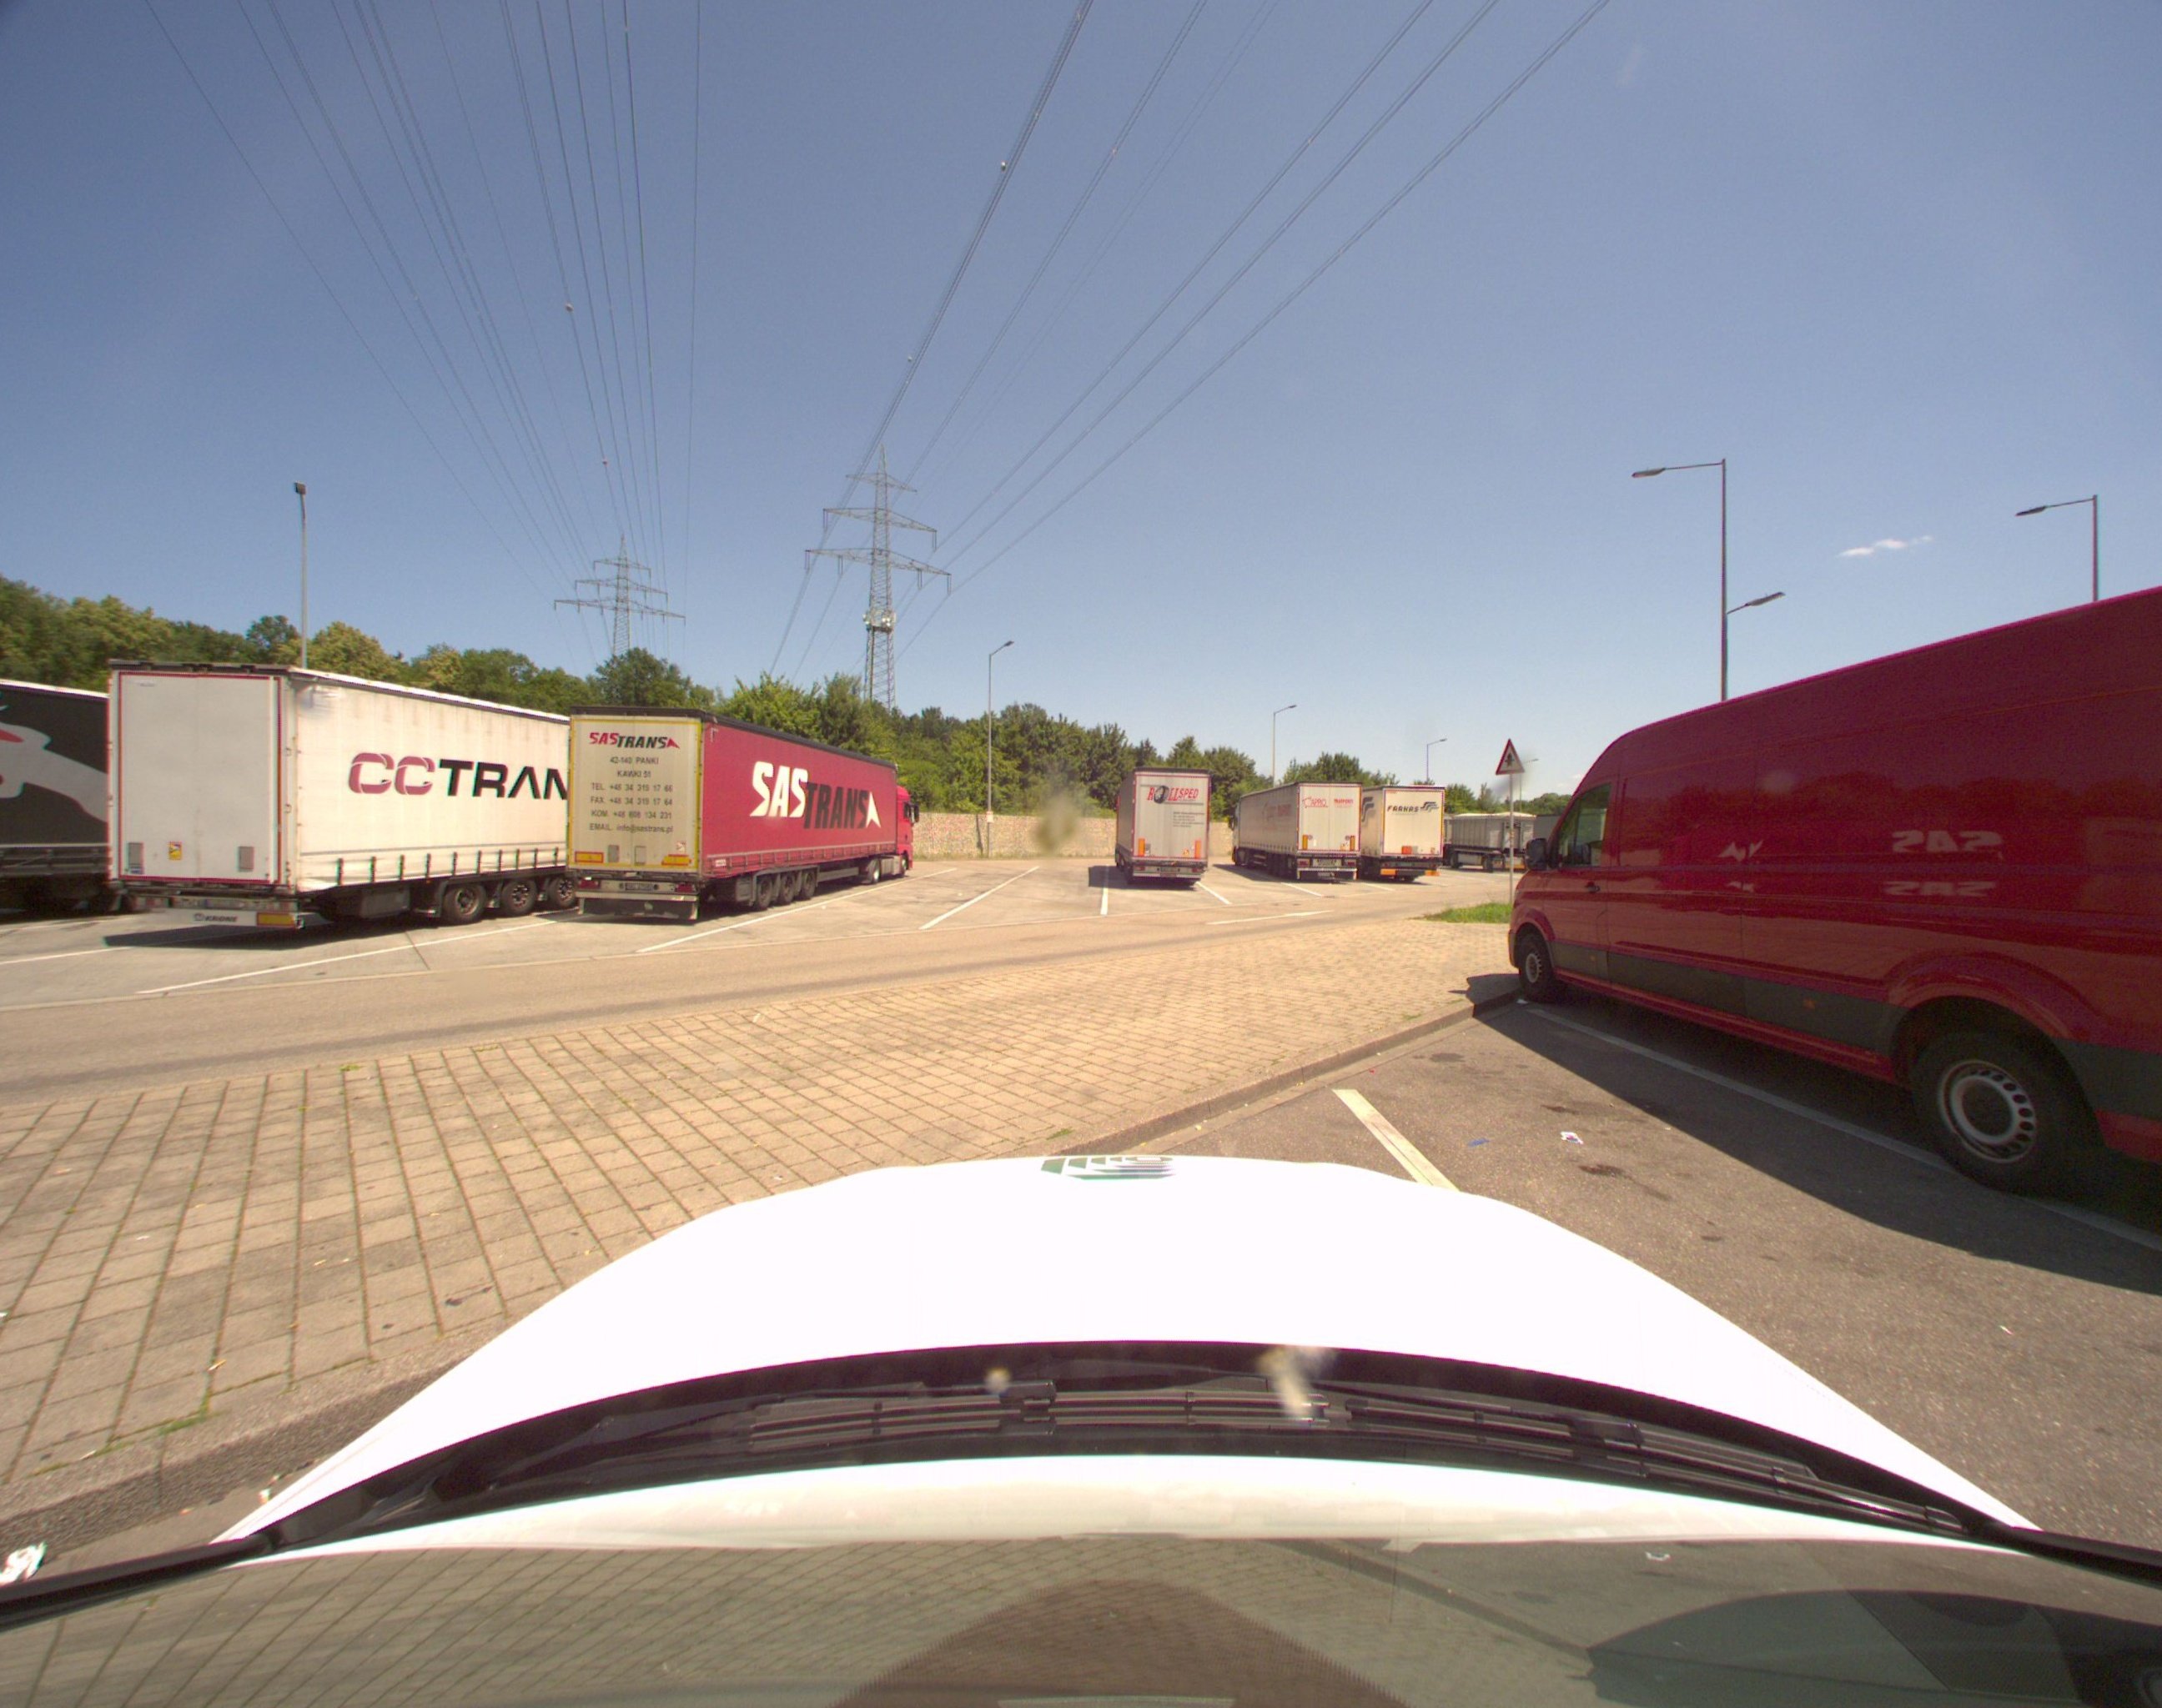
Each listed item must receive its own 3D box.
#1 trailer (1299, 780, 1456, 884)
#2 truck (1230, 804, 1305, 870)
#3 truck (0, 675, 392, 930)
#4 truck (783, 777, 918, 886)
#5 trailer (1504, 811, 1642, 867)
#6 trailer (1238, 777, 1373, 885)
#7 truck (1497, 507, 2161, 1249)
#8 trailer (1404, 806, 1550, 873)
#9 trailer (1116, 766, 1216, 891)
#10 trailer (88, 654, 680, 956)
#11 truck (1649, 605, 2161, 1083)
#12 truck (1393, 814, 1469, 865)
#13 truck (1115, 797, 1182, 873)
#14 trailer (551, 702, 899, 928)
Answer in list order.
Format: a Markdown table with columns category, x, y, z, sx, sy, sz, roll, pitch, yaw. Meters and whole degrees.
| category | x | y | z | sx | sy | sz | roll | pitch | yaw |
| --- | --- | --- | --- | --- | --- | --- | --- | --- | --- |
| trailer | 13.605 | -1.093 | 39.225 | 2.847 | 4.109 | 13.770 | 1 | 2 | 2 |
| truck | 10.175 | -0.975 | 45.064 | 2.855 | 3.362 | 5.977 | 1 | 2 | 2 |
| truck | -18.551 | -0.931 | 15.829 | 2.696 | 4.070 | 8.694 | 1 | 2 | 2 |
| truck | -7.835 | -0.788 | 28.543 | 2.801 | 3.362 | 5.977 | 1 | 2 | 2 |
| trailer | 38.217 | -1.299 | 64.182 | 2.847 | 3.904 | 13.770 | 1 | 2 | 2 |
| trailer | 9.977 | -1.117 | 38.300 | 2.847 | 4.109 | 13.770 | 1 | 2 | 2 |
| truck | 5.141 | 0.083 | 5.453 | 2.001 | 2.651 | 6.466 | -1 | 0 | 6 |
| trailer | 24.437 | -0.994 | 51.500 | 2.847 | 3.599 | 13.770 | 1 | 2 | 2 |
| trailer | 3.045 | -1.045 | 33.209 | 2.848 | 3.971 | 13.767 | 1 | 2 | 1 |
| trailer | -12.163 | -0.835 | 16.422 | 2.696 | 4.101 | 10.395 | 1 | 2 | 2 |
| truck | 8.000 | -0.068 | 6.886 | 2.406 | 2.906 | 6.466 | -1 | 0 | 6 |
| truck | 24.623 | -1.082 | 57.597 | 2.855 | 3.362 | 5.977 | 1 | 2 | 2 |
| truck | 3.136 | -0.935 | 39.411 | 2.855 | 3.362 | 5.977 | 1 | 2 | 2 |
| trailer | -8.049 | -0.921 | 21.726 | 2.811 | 4.070 | 13.770 | 1 | 2 | 2 |
